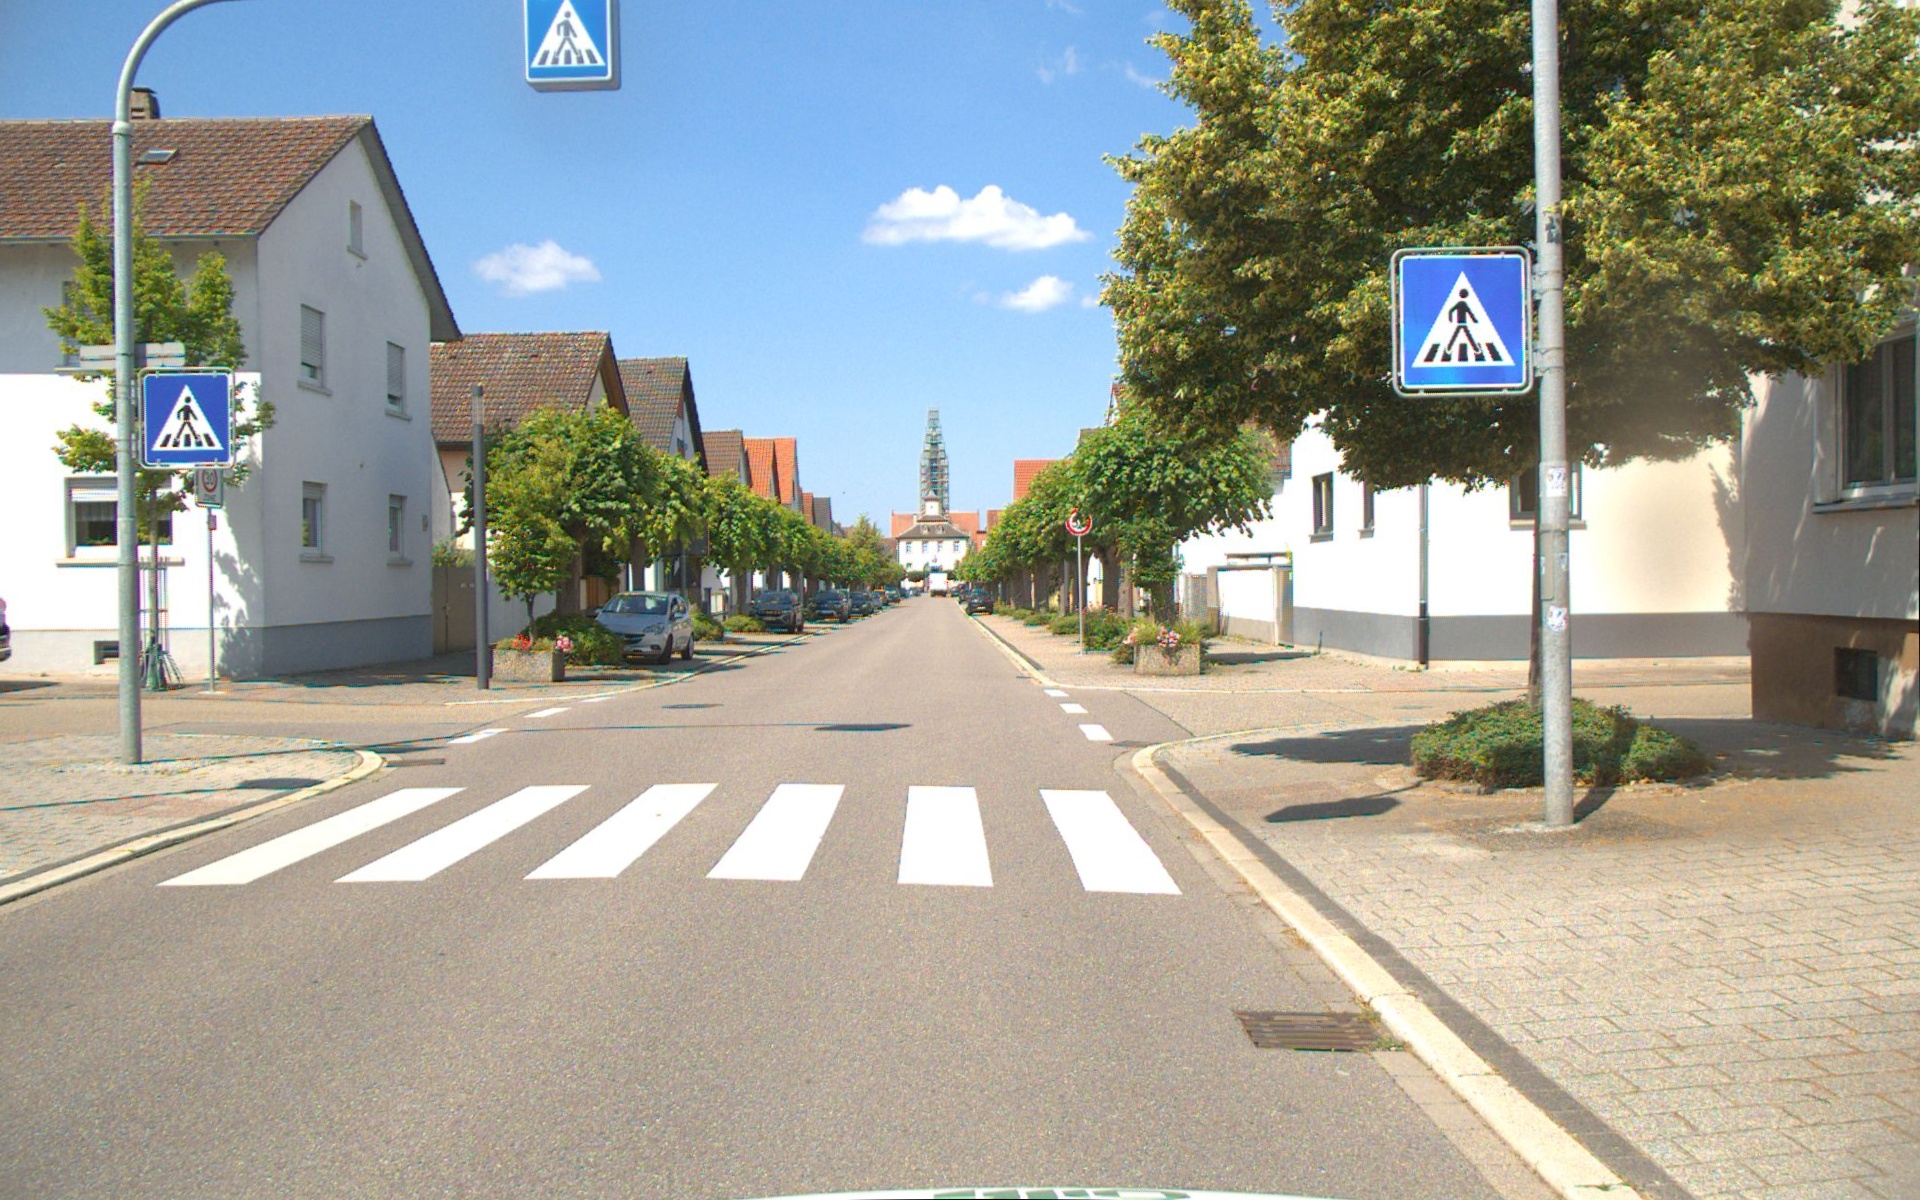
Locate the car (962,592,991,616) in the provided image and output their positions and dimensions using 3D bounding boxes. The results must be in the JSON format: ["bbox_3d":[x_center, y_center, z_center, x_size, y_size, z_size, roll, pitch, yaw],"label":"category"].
[{"bbox_3d":[1.068,0.255,109.278,1.787,1.457,4.056,-3,1,-1],"label":"car"}]

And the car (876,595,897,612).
[{"bbox_3d":[-7.573,0.357,171.626,1.953,1.639,4.689,1,0,0],"label":"car"}]

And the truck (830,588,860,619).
[{"bbox_3d":[-6.945,0.208,100.039,1.544,1.796,4.191,1,0,-1],"label":"truck"}]

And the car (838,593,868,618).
[{"bbox_3d":[-7.046,0.352,108.764,1.751,1.662,3.995,0,0,-6],"label":"car"}]

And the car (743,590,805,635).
[{"bbox_3d":[-7.102,0.452,63.436,1.814,1.641,4.135,1,0,1],"label":"car"}]

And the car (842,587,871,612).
[{"bbox_3d":[-7.253,-0.040,116.548,1.815,1.664,4.056,1,0,-1],"label":"car"}]

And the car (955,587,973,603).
[{"bbox_3d":[0.470,-0.540,178.965,1.800,1.582,4.313,-2,0,-1],"label":"car"}]

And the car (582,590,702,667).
[{"bbox_3d":[-6.783,0.576,35.655,1.787,1.509,4.132,1,0,0],"label":"car"}]

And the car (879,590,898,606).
[{"bbox_3d":[-8.332,-0.264,192.143,1.953,1.639,4.689,2,1,0],"label":"car"}]

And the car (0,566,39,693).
[{"bbox_3d":[-15.467,0.417,22.842,4.334,1.745,2.000,0,2,-1],"label":"car"}]

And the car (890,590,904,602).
[{"bbox_3d":[-8.966,-0.584,235.802,1.721,1.582,4.020,-1,0,0],"label":"car"}]

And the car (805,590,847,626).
[{"bbox_3d":[-6.760,0.399,83.750,1.815,1.665,4.299,2,1,-1],"label":"car"}]
